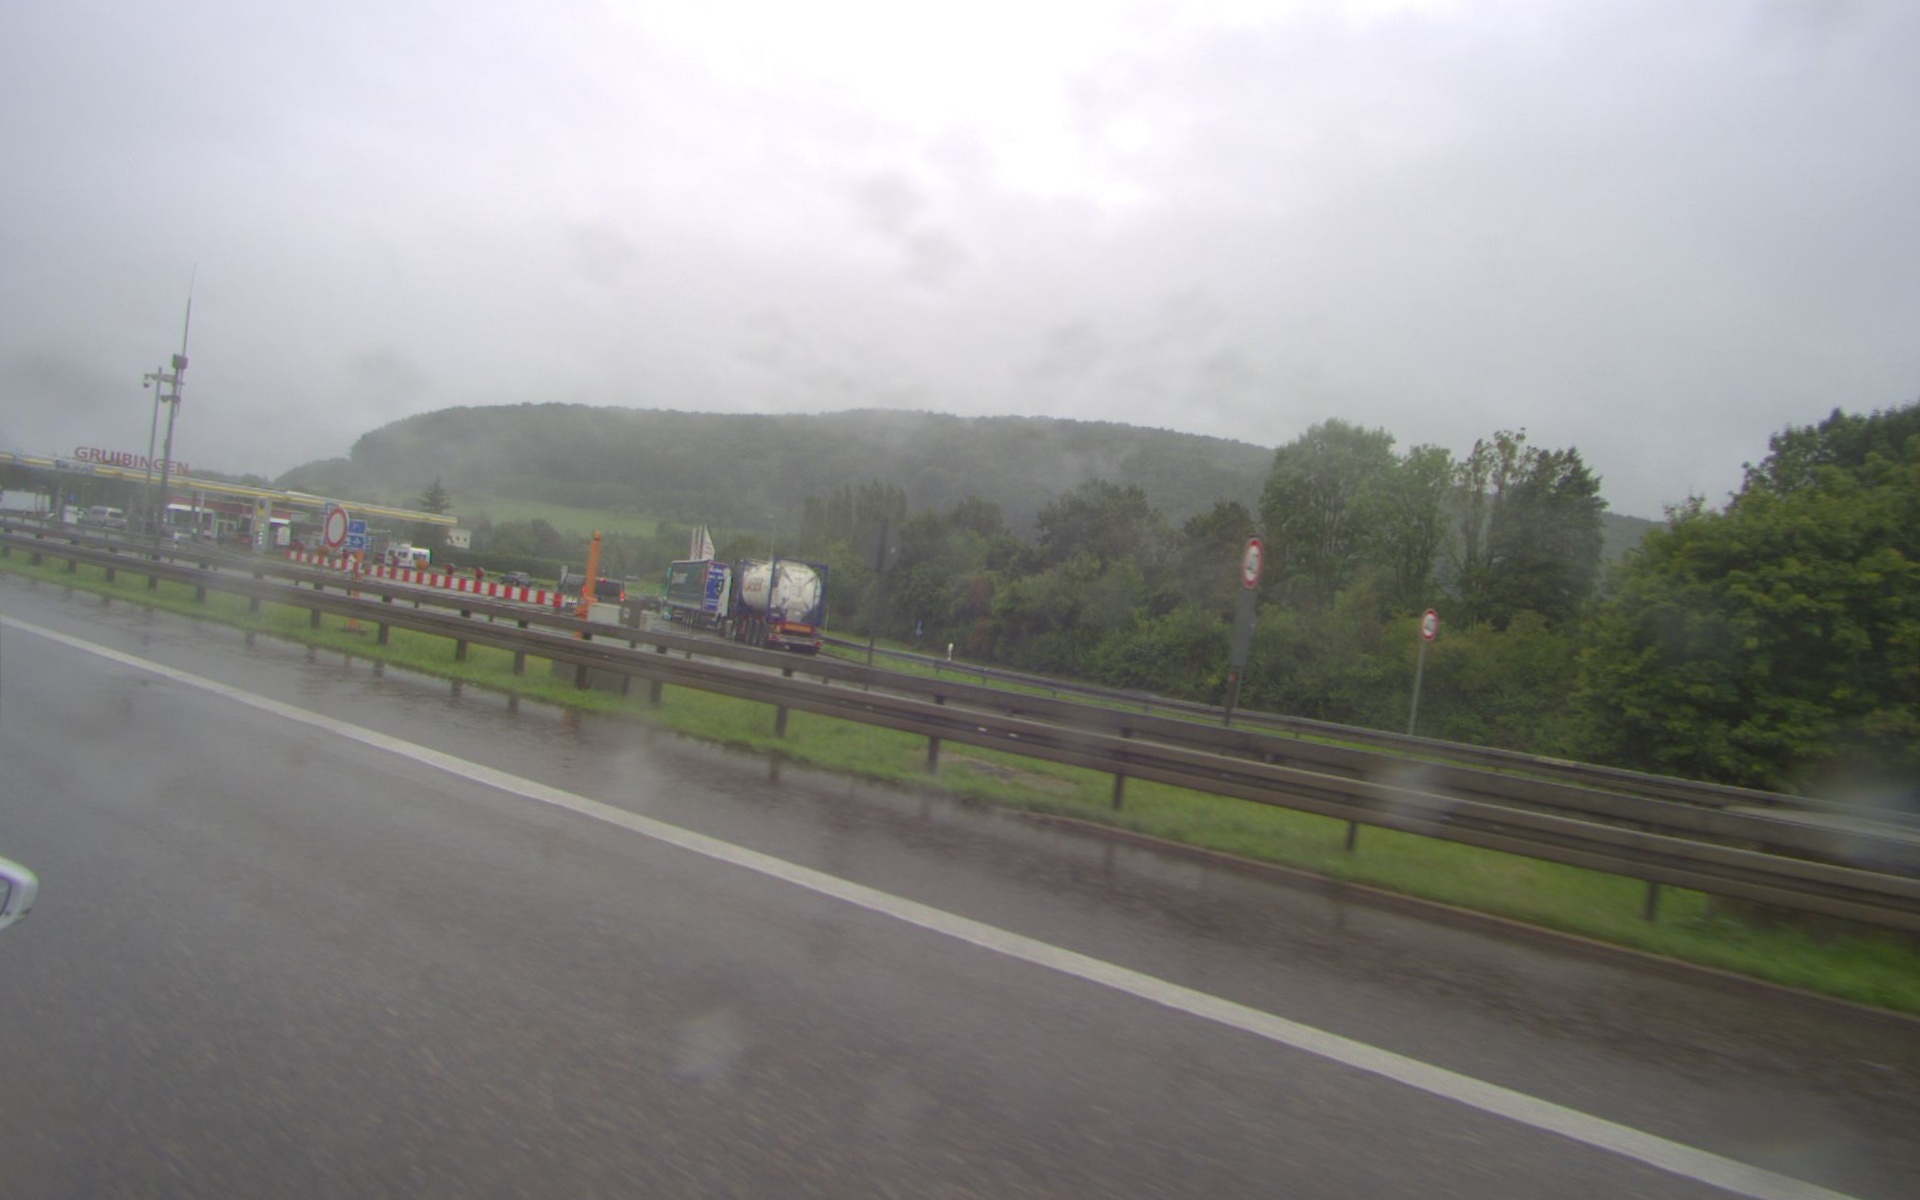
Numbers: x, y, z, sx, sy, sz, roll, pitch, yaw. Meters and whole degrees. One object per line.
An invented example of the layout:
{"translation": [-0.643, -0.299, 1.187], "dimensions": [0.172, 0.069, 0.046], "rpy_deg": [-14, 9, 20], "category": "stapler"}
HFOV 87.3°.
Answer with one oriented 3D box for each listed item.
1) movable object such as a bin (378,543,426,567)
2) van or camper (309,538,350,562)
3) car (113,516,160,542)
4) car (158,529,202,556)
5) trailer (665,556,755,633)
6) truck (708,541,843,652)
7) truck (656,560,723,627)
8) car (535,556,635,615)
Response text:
{"translation": [-61.876, -5.022, 111.556], "dimensions": [5.293, 2.037, 2.171], "rpy_deg": [6, -2, 31], "category": "movable object such as a bin"}
{"translation": [-67.598, -5.400, 107.928], "dimensions": [3.933, 2.037, 1.998], "rpy_deg": [6, -2, 31], "category": "van or camper"}
{"translation": [-82.176, -7.068, 100.336], "dimensions": [4.820, 2.037, 1.998], "rpy_deg": [6, -2, 31], "category": "car"}
{"translation": [-74.835, -5.546, 96.515], "dimensions": [3.934, 2.037, 1.964], "rpy_deg": [6, -2, 32], "category": "car"}
{"translation": [-15.468, -0.368, 61.466], "dimensions": [2.759, 3.945, 11.685], "rpy_deg": [8, -2, -25], "category": "trailer"}
{"translation": [-9.052, -0.249, 47.700], "dimensions": [2.845, 4.305, 11.803], "rpy_deg": [8, -2, -25], "category": "truck"}
{"translation": [-18.247, -0.488, 67.555], "dimensions": [2.723, 3.911, 7.492], "rpy_deg": [8, -2, -25], "category": "truck"}
{"translation": [-16.631, -0.672, 44.459], "dimensions": [4.987, 2.037, 1.990], "rpy_deg": [6, -1, 43], "category": "car"}
